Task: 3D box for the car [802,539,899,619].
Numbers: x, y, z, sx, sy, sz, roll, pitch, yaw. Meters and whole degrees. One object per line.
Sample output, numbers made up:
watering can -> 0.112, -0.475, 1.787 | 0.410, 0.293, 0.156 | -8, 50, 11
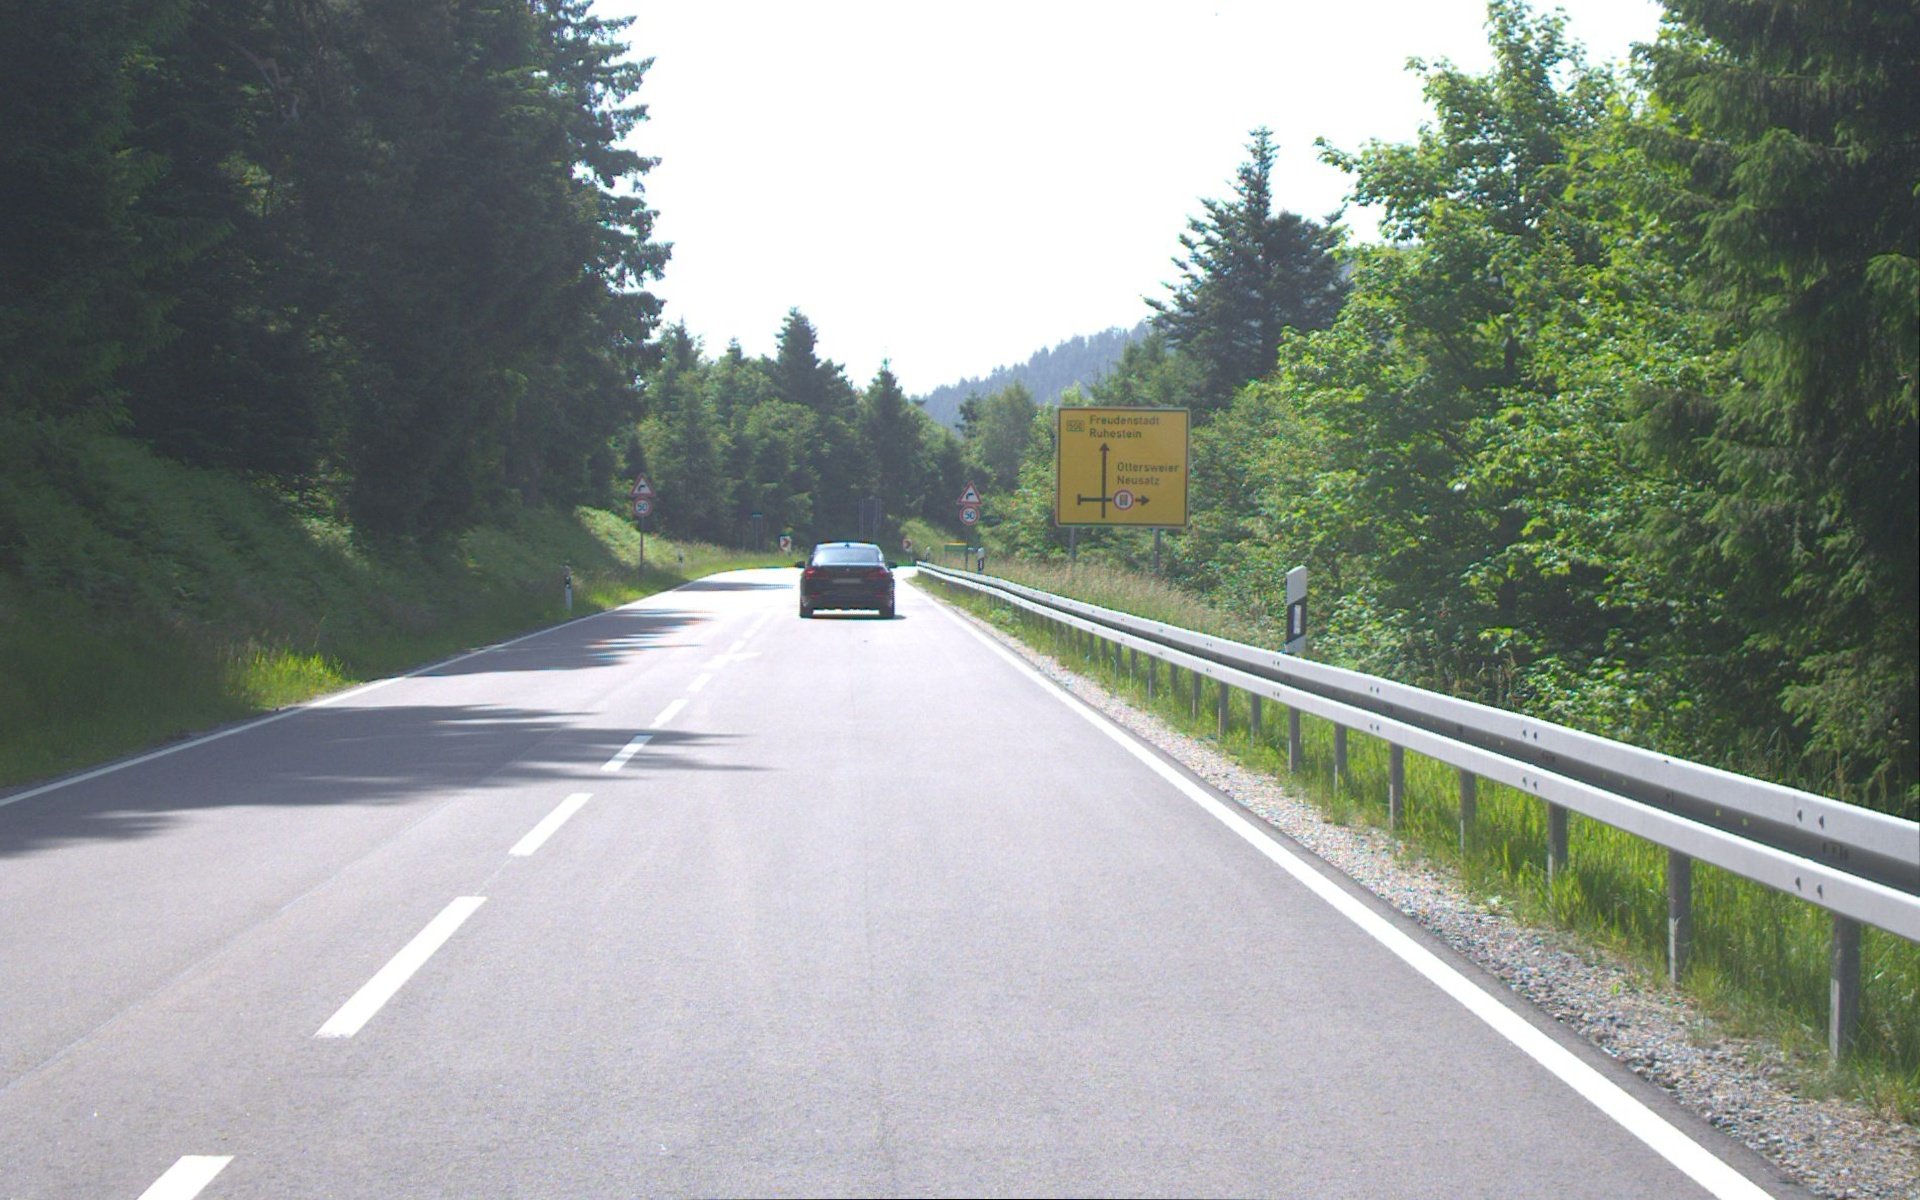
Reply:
car -> -2.100, -0.413, 65.840 | 1.776, 1.437, 3.709 | -1, 1, -2
